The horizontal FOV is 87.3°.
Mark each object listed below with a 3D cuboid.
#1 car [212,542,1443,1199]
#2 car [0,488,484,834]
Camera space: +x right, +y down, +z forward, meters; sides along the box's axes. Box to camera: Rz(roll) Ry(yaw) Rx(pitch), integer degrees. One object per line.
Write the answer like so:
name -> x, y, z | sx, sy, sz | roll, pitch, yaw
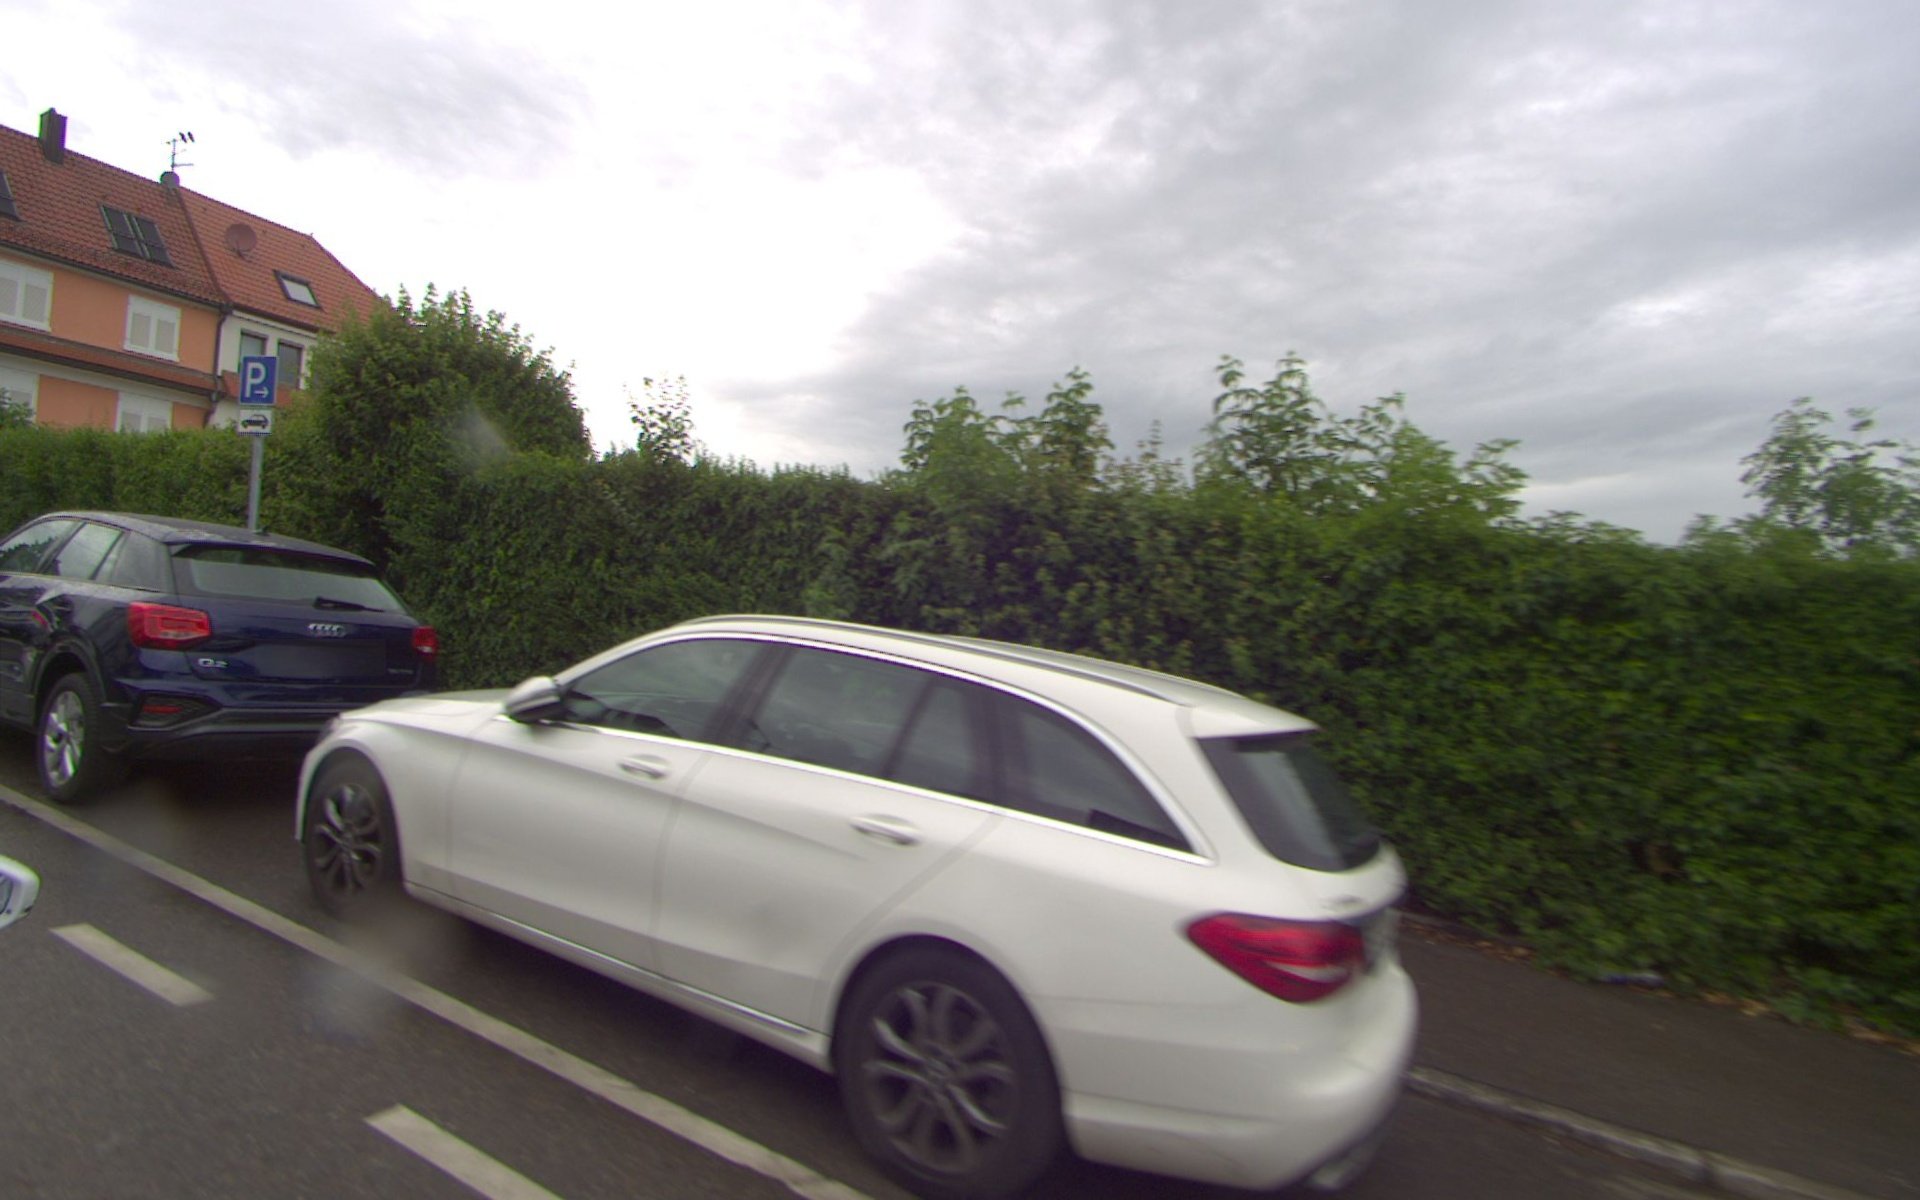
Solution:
car -> -0.745, 0.769, 3.923 | 4.529, 1.422, 1.717 | 7, -1, 30
car -> -5.240, 0.192, 6.485 | 4.134, 1.548, 1.757 | 6, -1, 30
